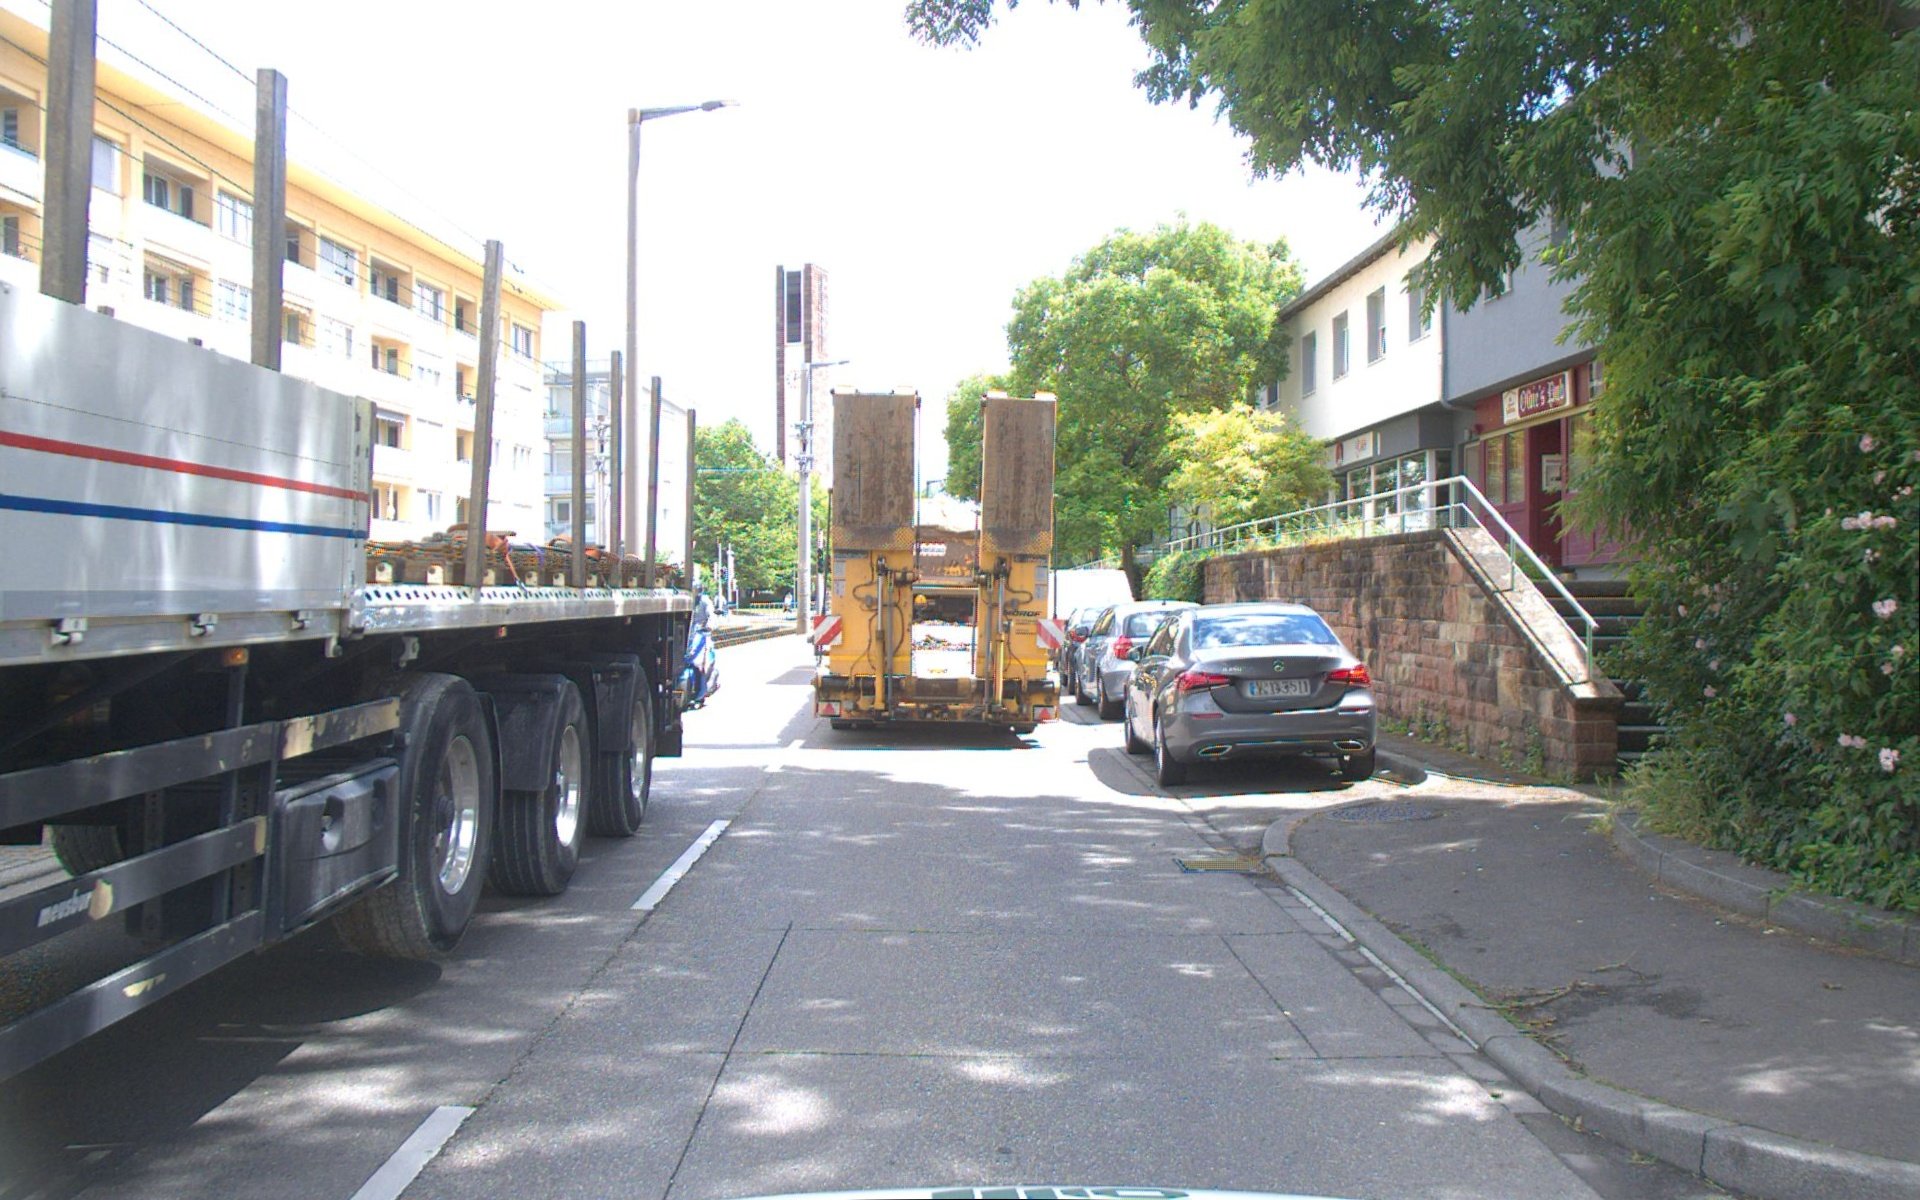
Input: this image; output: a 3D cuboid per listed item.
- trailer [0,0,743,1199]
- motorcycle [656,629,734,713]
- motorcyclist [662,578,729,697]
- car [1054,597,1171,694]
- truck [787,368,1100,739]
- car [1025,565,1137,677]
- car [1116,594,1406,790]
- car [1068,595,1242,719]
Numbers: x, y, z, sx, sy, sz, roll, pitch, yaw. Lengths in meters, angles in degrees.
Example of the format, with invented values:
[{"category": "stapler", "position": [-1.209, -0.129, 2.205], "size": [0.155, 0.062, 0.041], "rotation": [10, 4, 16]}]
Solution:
[{"category": "trailer", "position": [-2.865, -0.453, 5.495], "size": [2.643, 3.643, 13.672], "rotation": [1, 1, -1]}, {"category": "motorcycle", "position": [-3.382, 0.892, 21.263], "size": [0.732, 0.970, 1.832], "rotation": [1, 1, -2]}, {"category": "motorcyclist", "position": [-3.386, 0.465, 21.249], "size": [0.732, 1.492, 0.887], "rotation": [0, 0, -2]}, {"category": "car", "position": [2.444, 0.695, 27.161], "size": [1.587, 1.430, 3.650], "rotation": [-1, 1, 0]}, {"category": "truck", "position": [-0.340, -0.526, 22.442], "size": [3.061, 3.626, 12.456], "rotation": [0, 1, -2]}, {"category": "car", "position": [2.304, 0.360, 32.525], "size": [1.763, 2.003, 4.589], "rotation": [-1, 1, -1]}, {"category": "car", "position": [2.507, 0.692, 14.844], "size": [1.798, 1.430, 4.414], "rotation": [-1, 1, 0]}, {"category": "car", "position": [2.491, 0.676, 21.977], "size": [1.656, 1.430, 4.067], "rotation": [-1, 1, -2]}]
